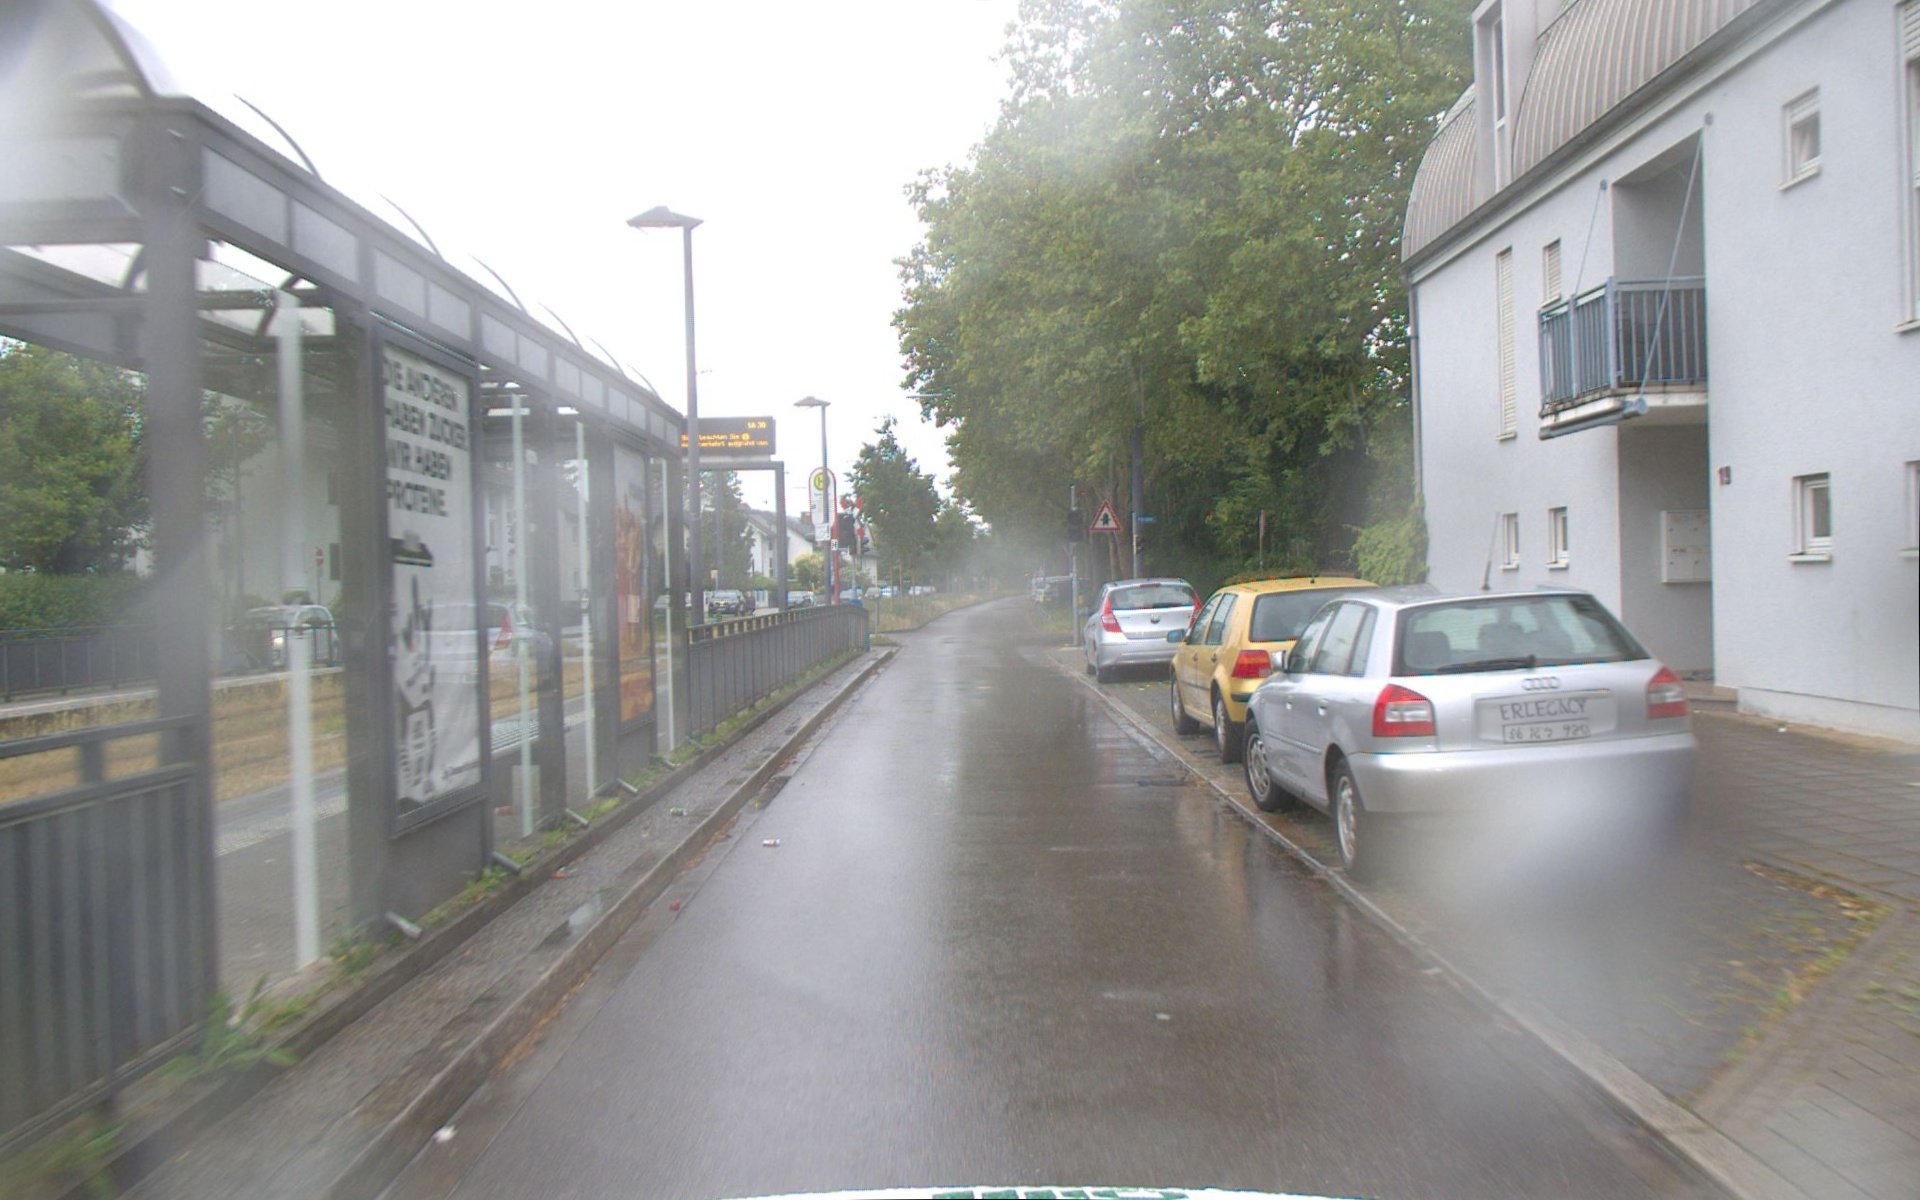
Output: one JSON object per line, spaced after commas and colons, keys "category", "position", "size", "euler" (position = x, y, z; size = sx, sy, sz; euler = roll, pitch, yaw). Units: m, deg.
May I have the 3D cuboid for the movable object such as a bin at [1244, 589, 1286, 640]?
{"category": "movable object such as a bin", "position": [6.504, 0.305, 35.264], "size": [0.678, 1.039, 0.824], "euler": [-4, 0, -1]}

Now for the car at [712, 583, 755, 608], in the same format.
{"category": "car", "position": [-13.918, -0.248, 101.942], "size": [1.888, 1.512, 4.001], "euler": [-1, 0, 3]}

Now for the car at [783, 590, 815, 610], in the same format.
{"category": "car", "position": [-12.474, 0.027, 128.392], "size": [1.888, 1.512, 4.001], "euler": [-1, 0, 3]}

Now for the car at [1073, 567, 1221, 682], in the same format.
{"category": "car", "position": [2.804, 0.361, 25.577], "size": [1.770, 1.493, 3.794], "euler": [-5, 0, 0]}

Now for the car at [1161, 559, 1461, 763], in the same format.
{"category": "car", "position": [2.941, 0.480, 14.671], "size": [1.770, 1.429, 3.794], "euler": [-5, 0, 0]}

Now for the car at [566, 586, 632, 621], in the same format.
{"category": "car", "position": [-16.143, 0.177, 74.098], "size": [1.888, 1.512, 4.001], "euler": [-1, 0, 3]}

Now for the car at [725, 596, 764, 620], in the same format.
{"category": "car", "position": [-14.147, 0.531, 108.781], "size": [1.888, 1.512, 4.001], "euler": [-1, 0, 3]}

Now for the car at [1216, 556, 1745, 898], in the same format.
{"category": "car", "position": [2.745, 0.593, 9.898], "size": [1.617, 1.429, 4.649], "euler": [-5, 0, 0]}

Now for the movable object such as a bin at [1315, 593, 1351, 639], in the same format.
{"category": "movable object such as a bin", "position": [7.755, 0.332, 34.384], "size": [0.525, 0.914, 0.738], "euler": [-4, 0, -1]}

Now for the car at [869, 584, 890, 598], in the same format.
{"category": "car", "position": [-8.973, -0.950, 185.194], "size": [1.888, 1.512, 4.001], "euler": [-1, 0, 3]}

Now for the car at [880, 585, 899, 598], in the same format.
{"category": "car", "position": [-8.392, -1.012, 197.015], "size": [1.888, 1.512, 4.001], "euler": [-1, 0, 3]}

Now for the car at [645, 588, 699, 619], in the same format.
{"category": "car", "position": [-14.782, 0.190, 85.110], "size": [1.888, 1.512, 4.001], "euler": [-1, 0, 3]}

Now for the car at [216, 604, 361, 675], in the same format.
{"category": "car", "position": [-15.171, 0.855, 37.582], "size": [1.599, 1.519, 4.000], "euler": [-1, 0, 1]}

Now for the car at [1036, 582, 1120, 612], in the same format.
{"category": "car", "position": [6.076, -0.137, 85.322], "size": [3.920, 1.478, 1.992], "euler": [-1, 0, -15]}
